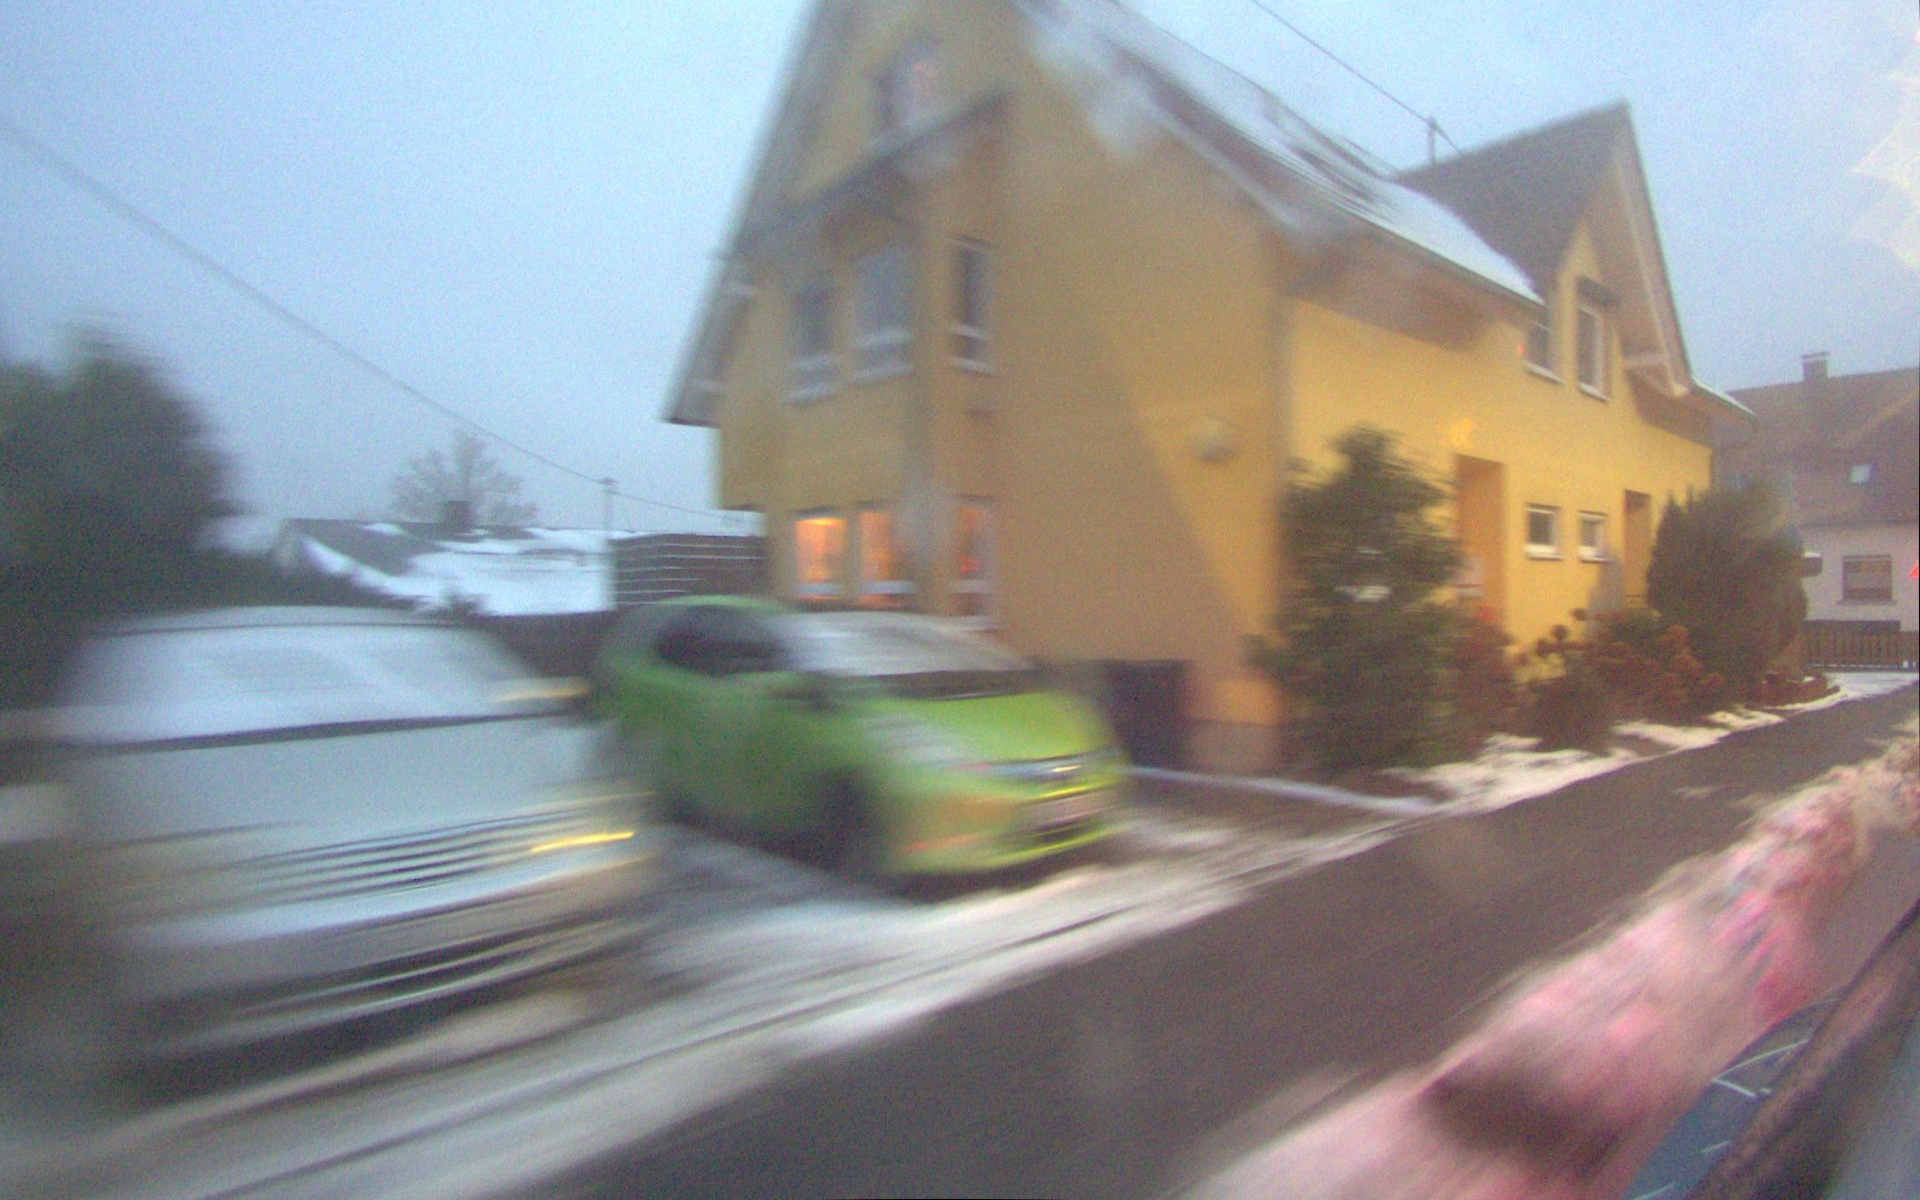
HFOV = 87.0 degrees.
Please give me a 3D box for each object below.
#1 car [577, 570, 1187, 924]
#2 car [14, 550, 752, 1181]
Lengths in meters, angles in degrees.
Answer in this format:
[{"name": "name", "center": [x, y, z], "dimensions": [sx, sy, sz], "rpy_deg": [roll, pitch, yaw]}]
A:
[{"name": "car", "center": [-0.687, 0.631, 6.304], "dimensions": [3.742, 1.516, 1.792], "rpy_deg": [0, -1, 45]}, {"name": "car", "center": [-2.866, 0.666, 4.507], "dimensions": [1.870, 1.452, 4.171], "rpy_deg": [1, -2, -44]}]
